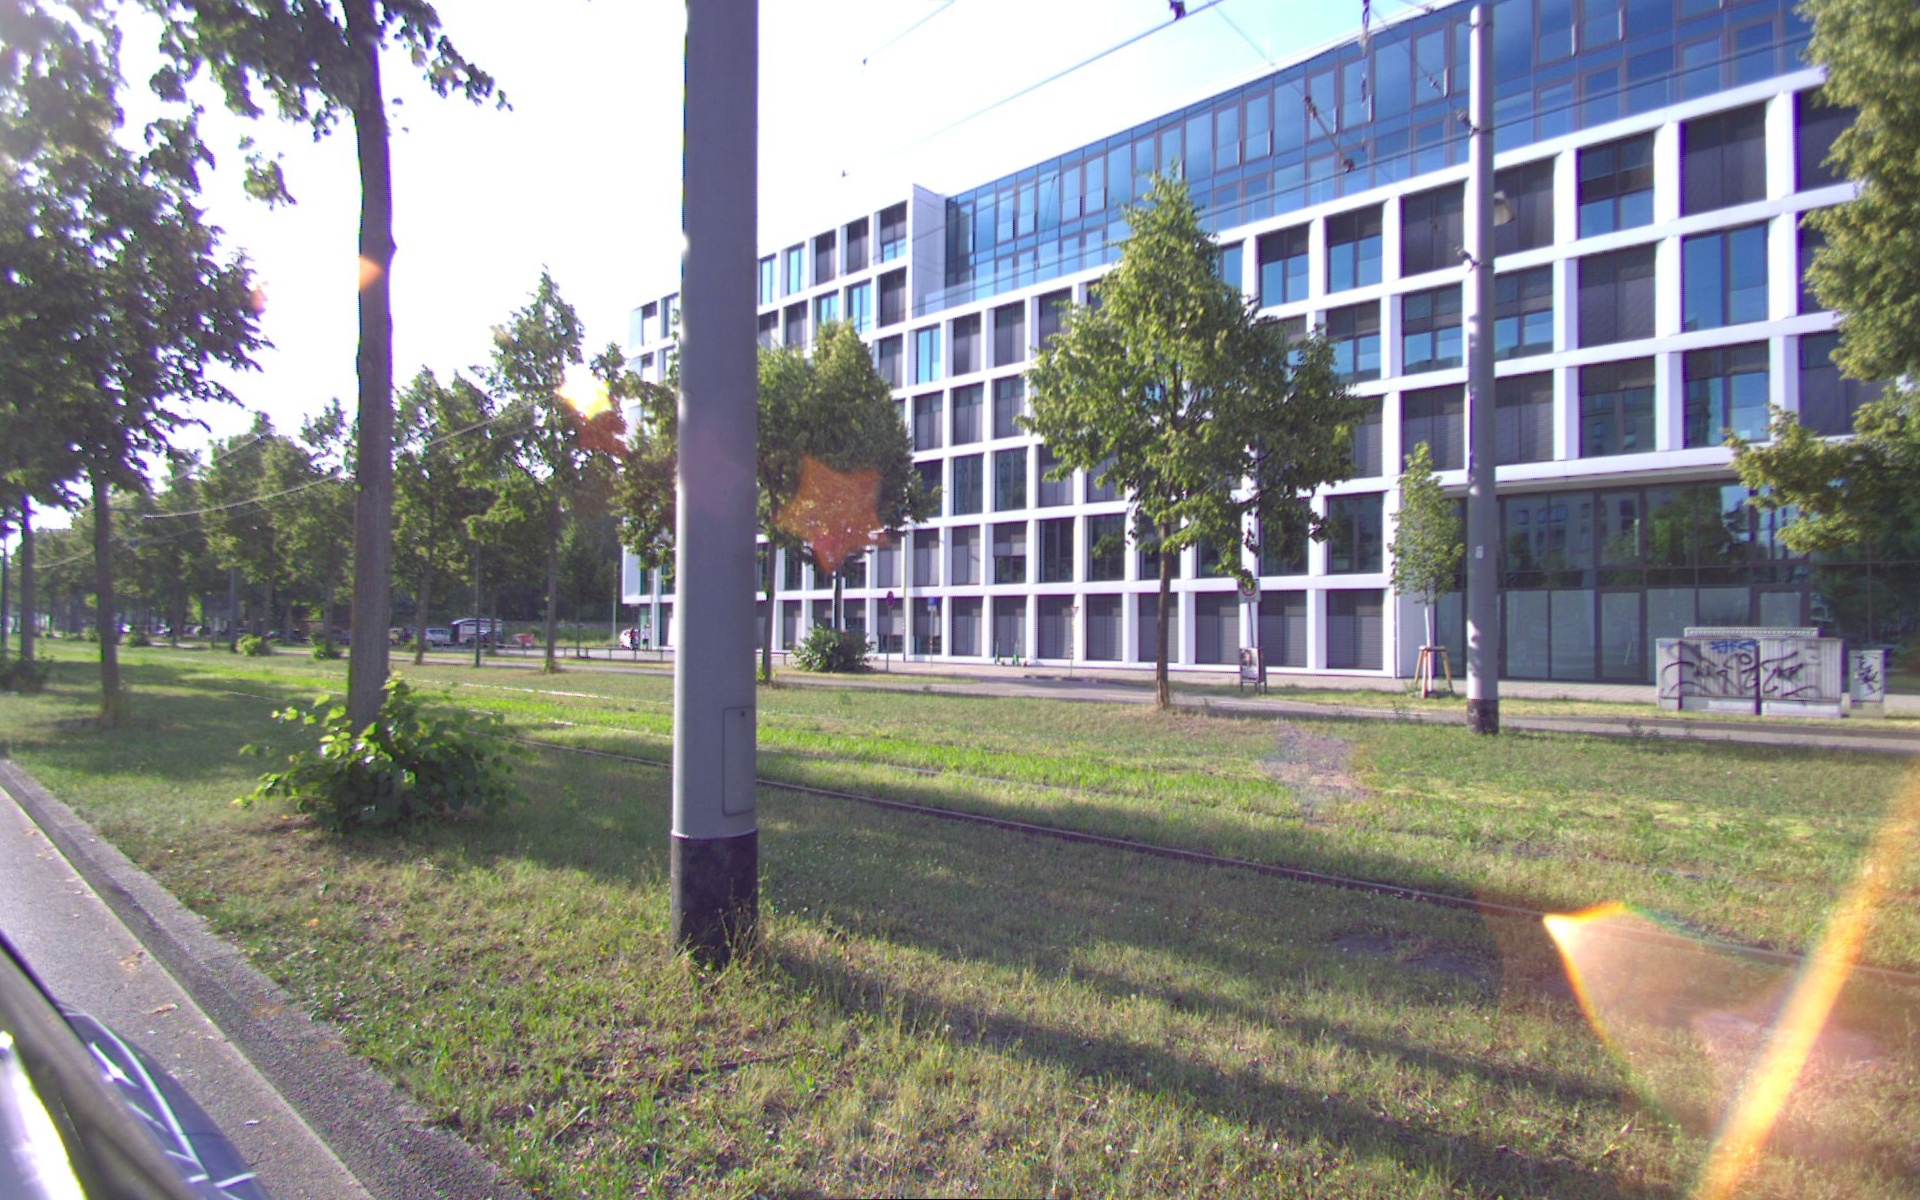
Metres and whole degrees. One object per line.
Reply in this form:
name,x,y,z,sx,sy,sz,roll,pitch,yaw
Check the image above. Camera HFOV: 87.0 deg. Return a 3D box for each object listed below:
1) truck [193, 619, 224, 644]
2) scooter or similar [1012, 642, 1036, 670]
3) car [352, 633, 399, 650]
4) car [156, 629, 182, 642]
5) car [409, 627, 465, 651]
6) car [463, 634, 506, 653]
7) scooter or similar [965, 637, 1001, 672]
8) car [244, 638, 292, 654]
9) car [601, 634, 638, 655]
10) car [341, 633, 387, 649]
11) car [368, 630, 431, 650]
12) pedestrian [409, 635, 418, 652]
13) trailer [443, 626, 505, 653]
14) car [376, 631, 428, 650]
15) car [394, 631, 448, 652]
truck,-113.863,4.734,153.216,2.854,3.542,7.952,-1,0,-43
scooter or similar,2.871,2.501,45.366,0.331,1.235,1.302,-1,0,-34
car,-57.148,4.041,98.996,1.810,1.439,3.606,-1,0,44
car,-96.932,4.384,124.002,4.475,1.442,1.810,-1,0,43
car,-45.624,3.395,88.297,1.758,1.962,3.949,-1,0,42
car,-38.483,3.509,81.923,3.758,1.404,1.663,-1,0,39
scooter or similar,1.080,2.488,46.379,1.906,1.488,0.415,-1,0,-44
car,-69.882,4.652,102.206,3.992,1.446,1.682,-1,0,11
car,-28.880,3.731,85.802,1.824,1.608,4.009,-1,0,-37
car,-61.643,4.209,104.652,3.810,1.497,1.746,-1,0,-40
car,-54.251,3.819,98.057,1.886,1.748,5.003,-1,0,44
pedestrian,-47.031,3.747,87.026,0.568,1.491,0.516,-1,0,41
trailer,-40.836,3.322,85.070,4.314,2.069,1.759,-1,0,-45
car,-52.883,3.817,95.946,1.857,1.572,3.942,-1,0,44
car,-48.075,3.688,90.275,1.758,1.655,3.949,-1,0,42
